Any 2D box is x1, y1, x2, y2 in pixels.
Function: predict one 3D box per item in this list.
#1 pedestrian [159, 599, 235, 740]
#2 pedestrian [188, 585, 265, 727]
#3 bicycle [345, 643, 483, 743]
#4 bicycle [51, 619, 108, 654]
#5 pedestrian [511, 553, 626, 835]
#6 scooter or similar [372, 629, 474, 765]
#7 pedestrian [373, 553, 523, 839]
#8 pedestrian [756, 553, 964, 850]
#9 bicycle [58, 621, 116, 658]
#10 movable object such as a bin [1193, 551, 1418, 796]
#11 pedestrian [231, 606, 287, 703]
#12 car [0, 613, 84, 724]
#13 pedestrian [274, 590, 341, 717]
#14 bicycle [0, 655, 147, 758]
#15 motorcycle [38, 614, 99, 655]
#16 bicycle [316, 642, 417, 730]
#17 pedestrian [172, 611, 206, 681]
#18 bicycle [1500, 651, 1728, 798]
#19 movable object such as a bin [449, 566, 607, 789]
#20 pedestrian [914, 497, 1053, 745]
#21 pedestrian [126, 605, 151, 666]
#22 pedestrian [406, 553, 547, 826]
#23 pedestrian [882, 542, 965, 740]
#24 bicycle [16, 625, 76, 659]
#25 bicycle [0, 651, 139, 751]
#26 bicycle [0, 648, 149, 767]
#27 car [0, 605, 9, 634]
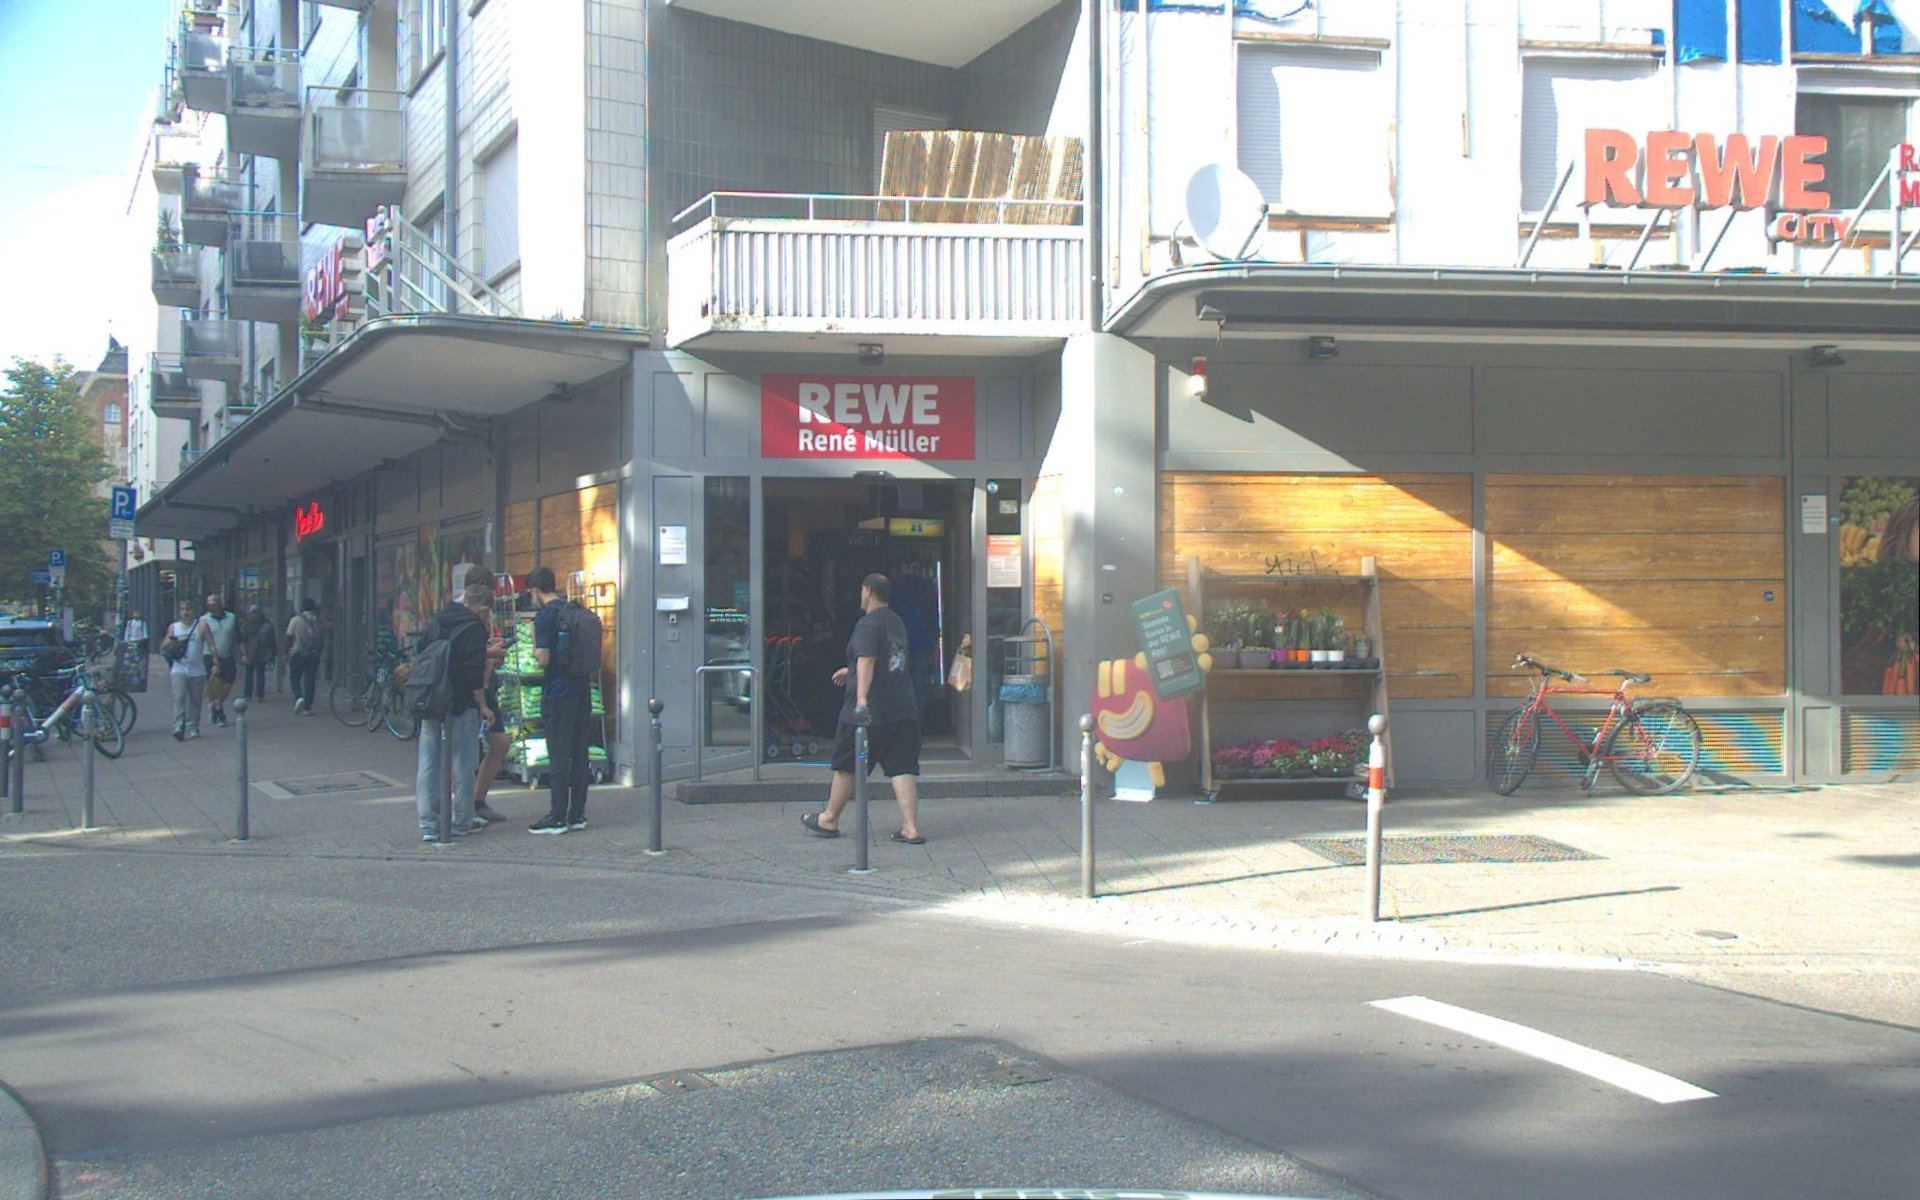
[{"bbox_3d":[-9.482,0.851,20.539,0.793,1.700,1.013,0,-2,-28],"label":"pedestrian"},{"bbox_3d":[-10.056,0.752,22.709,0.872,1.866,1.040,-2,0,-23],"label":"pedestrian"},{"bbox_3d":[-6.125,1.024,18.525,1.702,1.061,0.674,-2,-1,40],"label":"bicycle"},{"bbox_3d":[-31.801,1.324,59.746,1.752,1.166,0.406,-3,1,-37],"label":"bicycle"},{"bbox_3d":[-2.672,0.607,11.267,0.643,1.828,0.655,-3,2,-18],"label":"pedestrian"},{"bbox_3d":[-5.277,0.926,16.227,0.626,1.234,1.242,-2,1,-33],"label":"scooter or similar"},{"bbox_3d":[-3.393,0.617,11.007,0.617,1.828,0.715,-2,2,11],"label":"pedestrian"},{"bbox_3d":[-0.652,0.612,10.677,0.844,1.777,1.034,-3,1,-40],"label":"pedestrian"},{"bbox_3d":[-30.484,1.364,57.802,1.746,1.182,0.644,-2,1,-29],"label":"bicycle"},{"bbox_3d":[2.591,0.522,12.497,1.515,1.785,0.689,0,2,-8],"label":"movable object such as a bin"},{"bbox_3d":[-11.972,0.925,28.242,0.815,1.616,0.773,0,-1,-29],"label":"pedestrian"},{"bbox_3d":[-15.445,1.081,27.120,1.774,1.633,3.885,-3,1,-29],"label":"car"},{"bbox_3d":[-9.432,0.756,23.916,0.707,1.777,0.808,-2,1,-32],"label":"pedestrian"},{"bbox_3d":[-10.795,1.264,19.823,1.777,1.089,0.560,-2,1,-41],"label":"bicycle"},{"bbox_3d":[-36.762,1.407,68.253,2.124,1.557,0.680,-2,1,-27],"label":"motorcycle"},{"bbox_3d":[-7.703,1.091,21.433,0.736,1.033,1.760,-3,1,-37],"label":"bicycle"},{"bbox_3d":[-18.208,1.083,39.064,0.637,1.616,0.773,-2,0,-29],"label":"pedestrian"},{"bbox_3d":[4.937,0.931,12.547,1.498,1.051,0.583,0,1,4],"label":"bicycle"},{"bbox_3d":[-3.808,0.626,14.427,0.771,1.775,2.399,0,-1,-29],"label":"movable object such as a bin"},{"bbox_3d":[0.217,0.168,14.179,1.009,2.048,0.864,0,1,13],"label":"pedestrian"},{"bbox_3d":[-24.095,1.034,48.494,0.605,1.756,1.115,0,0,-29],"label":"pedestrian"},{"bbox_3d":[-3.364,0.600,11.554,0.697,1.828,0.633,-2,2,2],"label":"pedestrian"},{"bbox_3d":[-0.353,0.368,15.359,0.748,1.784,0.930,0,0,-3],"label":"pedestrian"},{"bbox_3d":[-31.769,1.464,57.497,1.751,1.075,0.406,-3,1,-36],"label":"bicycle"},{"bbox_3d":[-11.177,1.232,20.397,1.777,1.089,0.578,-2,1,-41],"label":"bicycle"},{"bbox_3d":[-9.889,1.153,17.924,1.865,1.145,0.897,-3,1,-33],"label":"bicycle"},{"bbox_3d":[-56.765,1.099,96.740,1.910,1.667,3.960,2,-1,-30],"label":"car"}]
